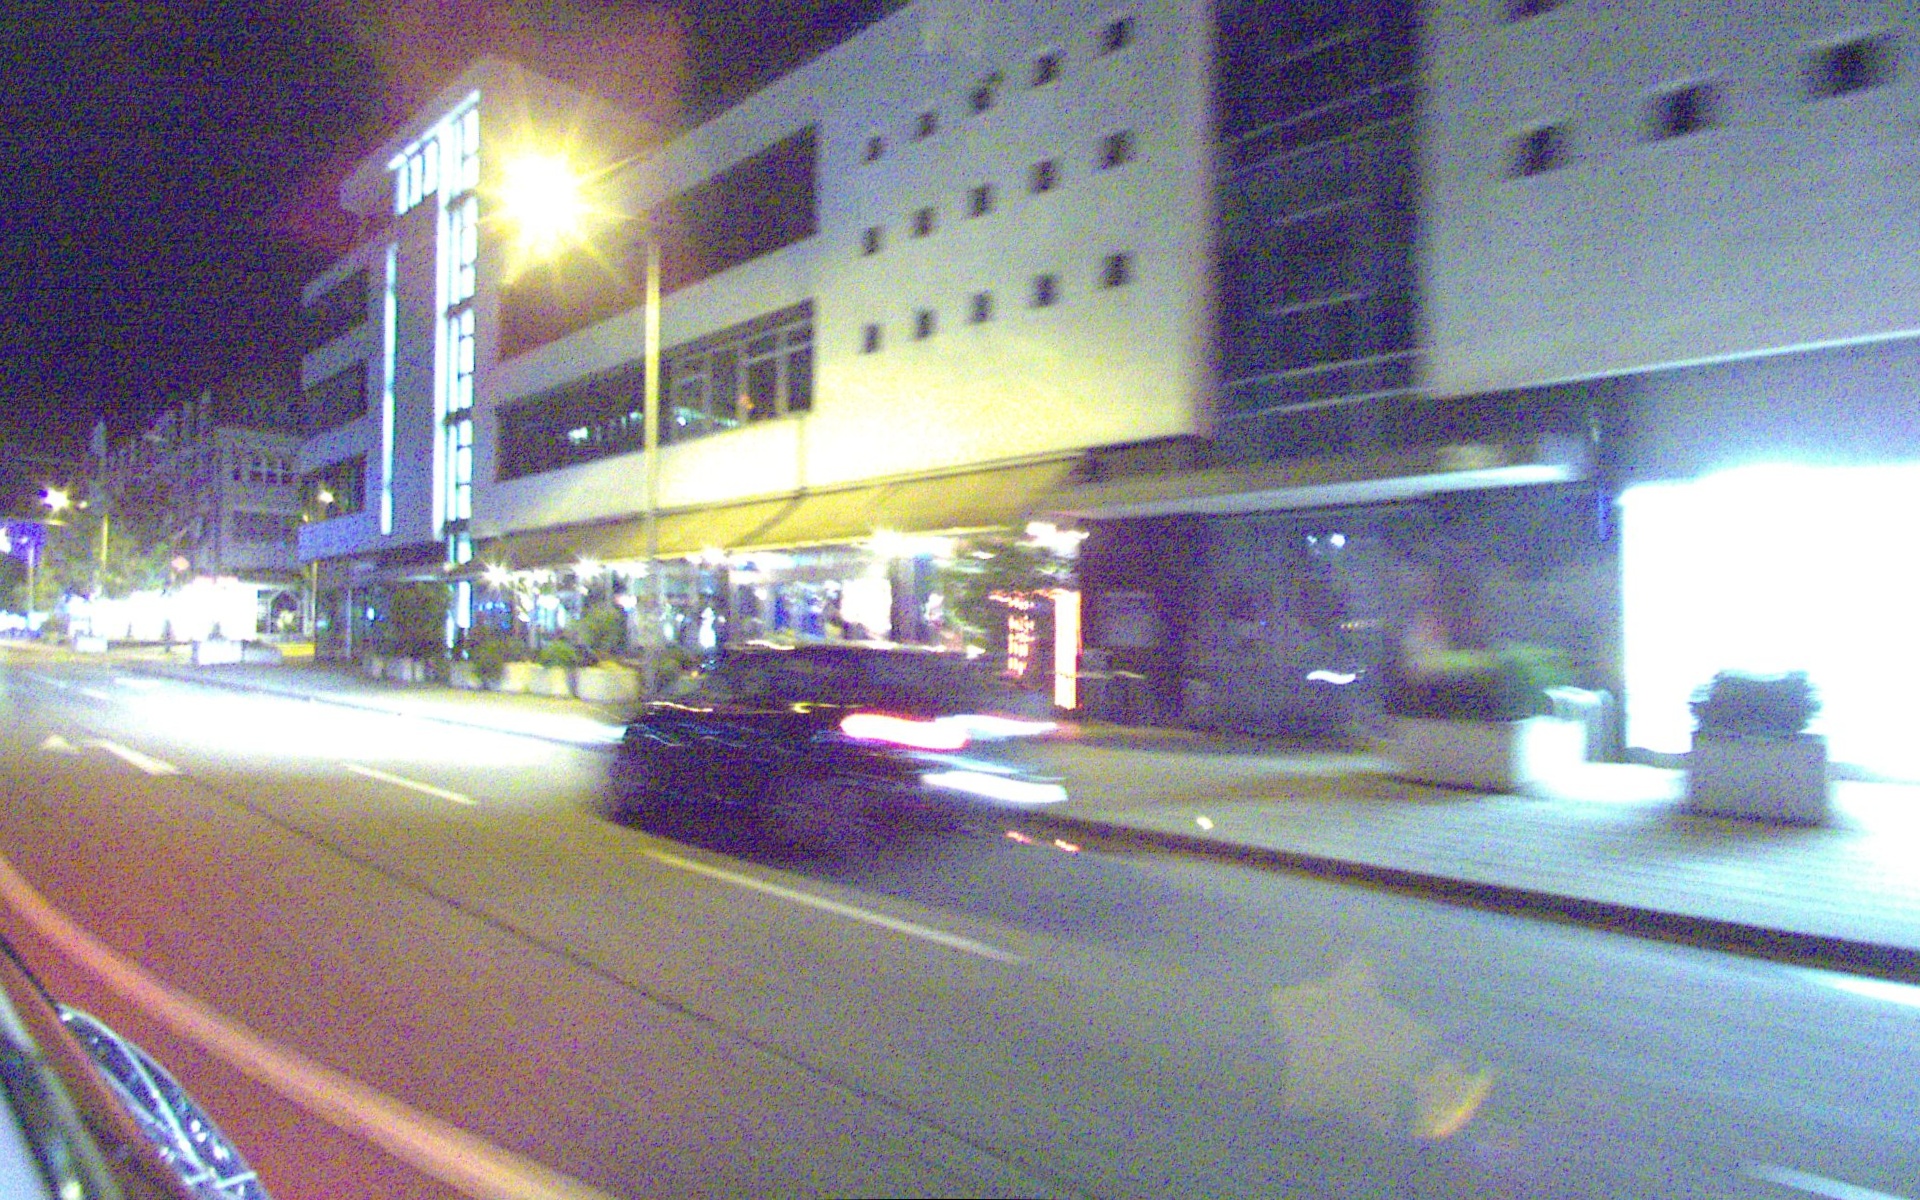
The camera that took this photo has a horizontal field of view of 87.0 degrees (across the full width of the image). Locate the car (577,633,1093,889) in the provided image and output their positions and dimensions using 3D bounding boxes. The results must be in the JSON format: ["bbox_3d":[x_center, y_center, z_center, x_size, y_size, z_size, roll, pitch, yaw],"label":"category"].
[{"bbox_3d":[-1.121,1.011,7.746,3.998,1.439,1.649,-1,-4,41],"label":"car"}]
